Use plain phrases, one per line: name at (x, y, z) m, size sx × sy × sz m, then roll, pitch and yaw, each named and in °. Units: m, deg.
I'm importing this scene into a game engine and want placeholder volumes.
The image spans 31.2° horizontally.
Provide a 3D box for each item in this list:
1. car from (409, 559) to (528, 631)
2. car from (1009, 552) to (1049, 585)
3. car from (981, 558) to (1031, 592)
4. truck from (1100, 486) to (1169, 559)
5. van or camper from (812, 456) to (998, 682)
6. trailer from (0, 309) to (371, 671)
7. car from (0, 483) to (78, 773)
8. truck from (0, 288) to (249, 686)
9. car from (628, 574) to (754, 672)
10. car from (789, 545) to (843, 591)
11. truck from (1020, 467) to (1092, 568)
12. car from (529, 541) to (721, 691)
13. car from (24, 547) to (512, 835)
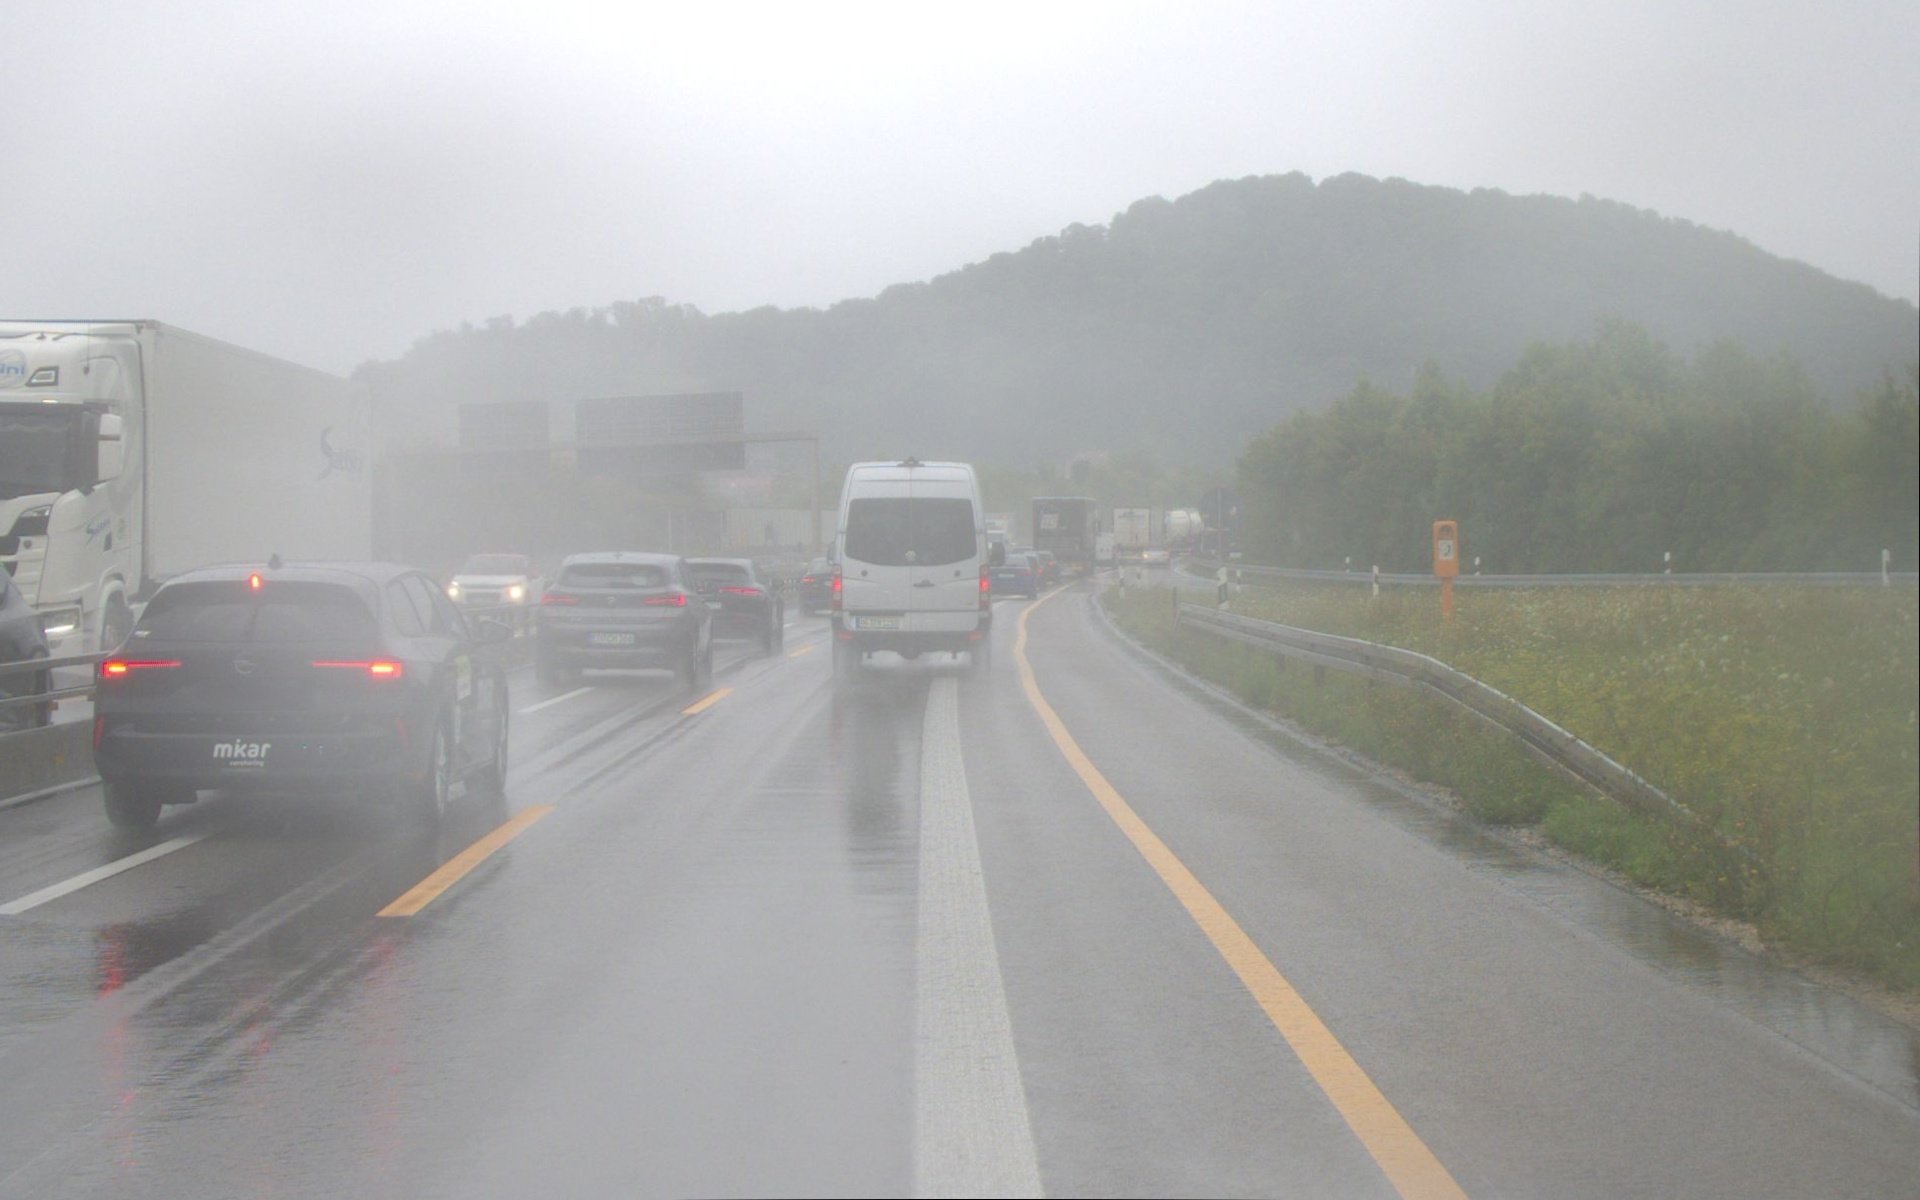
car at (-10.659, -0.120, 74.749) m, size 1.993 × 1.500 × 4.296 m, roll 0°, pitch 0°, yaw 0°
car at (2.625, -1.217, 131.278) m, size 1.384 × 1.252 × 3.123 m, roll 0°, pitch 1°, yaw -1°
car at (1.464, -0.808, 110.374) m, size 1.384 × 1.074 × 3.123 m, roll 0°, pitch 1°, yaw -4°
truck at (12.075, -5.304, 237.059) m, size 3.929 × 4.768 × 9.904 m, roll 1°, pitch 0°, yaw 7°
van or camper at (-0.760, -0.402, 43.682) m, size 2.139 × 2.712 × 4.649 m, roll 0°, pitch 1°, yaw -4°
trailer at (-10.195, -1.386, 45.016) m, size 2.907 × 4.075 × 12.221 m, roll 0°, pitch 1°, yaw 0°
car at (-7.231, 0.193, 22.083) m, size 1.993 × 1.878 × 4.433 m, roll 0°, pitch 1°, yaw 0°
truck at (-10.170, -1.239, 38.755) m, size 2.883 × 4.087 × 6.927 m, roll 0°, pitch 1°, yaw 0°
car at (-4.287, 0.343, 55.281) m, size 1.852 × 1.495 × 4.000 m, roll 0°, pitch 1°, yaw -2°
car at (-3.449, -0.770, 82.787) m, size 1.262 × 1.074 × 3.255 m, roll 0°, pitch 1°, yaw -2°
truck at (4.858, -4.055, 171.976) m, size 3.321 × 4.768 × 9.906 m, roll 1°, pitch 0°, yaw 3°
car at (-3.846, 0.151, 40.065) m, size 1.867 × 1.653 × 3.988 m, roll 0°, pitch 1°, yaw 0°
car at (-3.784, 0.430, 19.643) m, size 1.938 × 1.422 × 4.760 m, roll 1°, pitch 1°, yaw -2°
